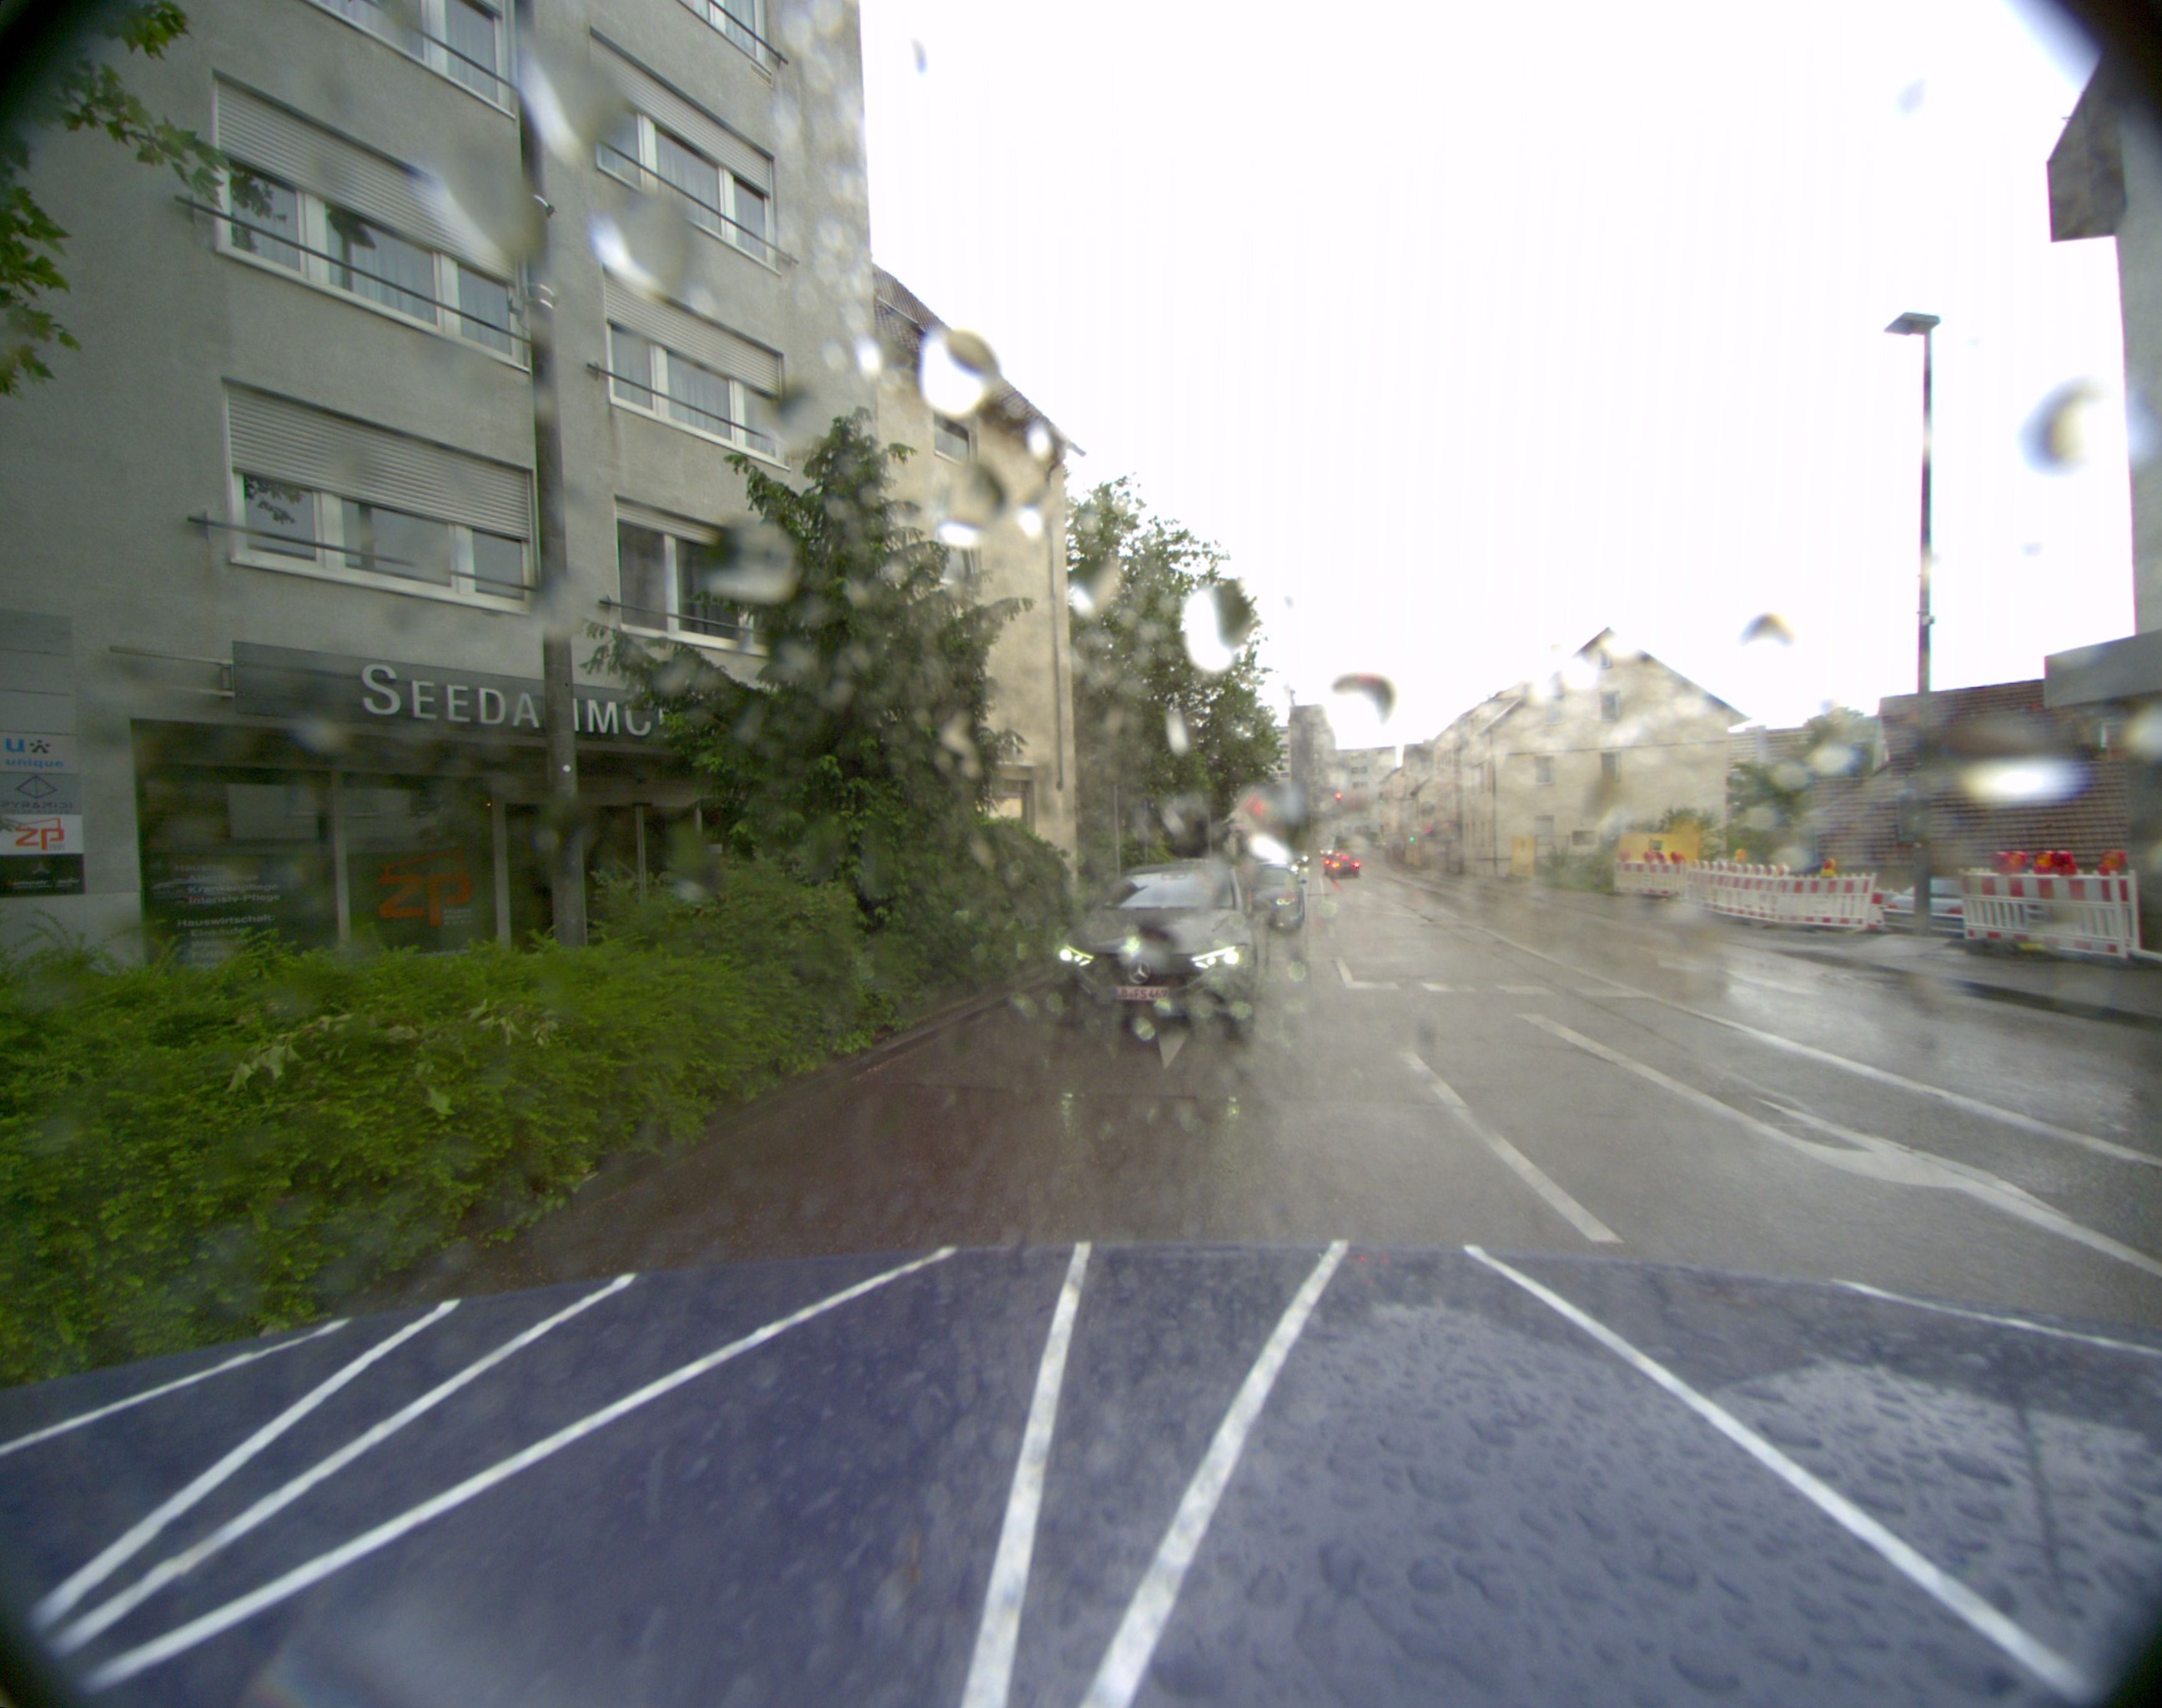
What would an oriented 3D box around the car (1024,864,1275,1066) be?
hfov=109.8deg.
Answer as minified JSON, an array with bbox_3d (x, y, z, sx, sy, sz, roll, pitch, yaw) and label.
[{"bbox_3d":[1.044,0.946,8.350,1.818,1.562,4.281,-2,-1,17],"label":"car"}]

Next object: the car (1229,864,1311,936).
[{"bbox_3d":[4.473,0.975,17.601,1.639,1.424,3.810,-1,0,17],"label":"car"}]

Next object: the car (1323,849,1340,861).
[{"bbox_3d":[34.685,0.149,105.231,1.613,1.495,3.724,-3,-1,27],"label":"car"}]

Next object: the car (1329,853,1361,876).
[{"bbox_3d":[17.218,0.662,49.661,1.709,1.375,3.674,-2,0,16],"label":"car"}]

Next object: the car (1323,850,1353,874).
[{"bbox_3d":[18.872,0.557,55.928,1.818,1.635,4.281,-2,-1,16],"label":"car"}]

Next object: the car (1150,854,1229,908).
[{"bbox_3d":[4.058,0.919,27.813,1.933,1.770,4.740,-1,0,20],"label":"car"}]

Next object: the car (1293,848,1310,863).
[{"bbox_3d":[23.857,0.161,82.132,1.548,1.525,3.693,-3,0,19],"label":"car"}]

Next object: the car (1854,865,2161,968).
[{"bbox_3d":[16.424,1.067,13.441,3.505,1.382,1.653,6,-1,8],"label":"car"}]

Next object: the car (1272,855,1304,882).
[{"bbox_3d":[12.239,0.810,44.794,1.684,1.452,4.005,-2,0,17],"label":"car"}]

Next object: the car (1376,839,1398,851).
[{"bbox_3d":[50.083,-1.429,124.336,3.843,1.841,1.789,-2,0,-43],"label":"car"}]

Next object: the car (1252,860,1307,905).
[{"bbox_3d":[7.011,0.958,26.910,1.685,1.413,4.004,-2,0,14],"label":"car"}]
